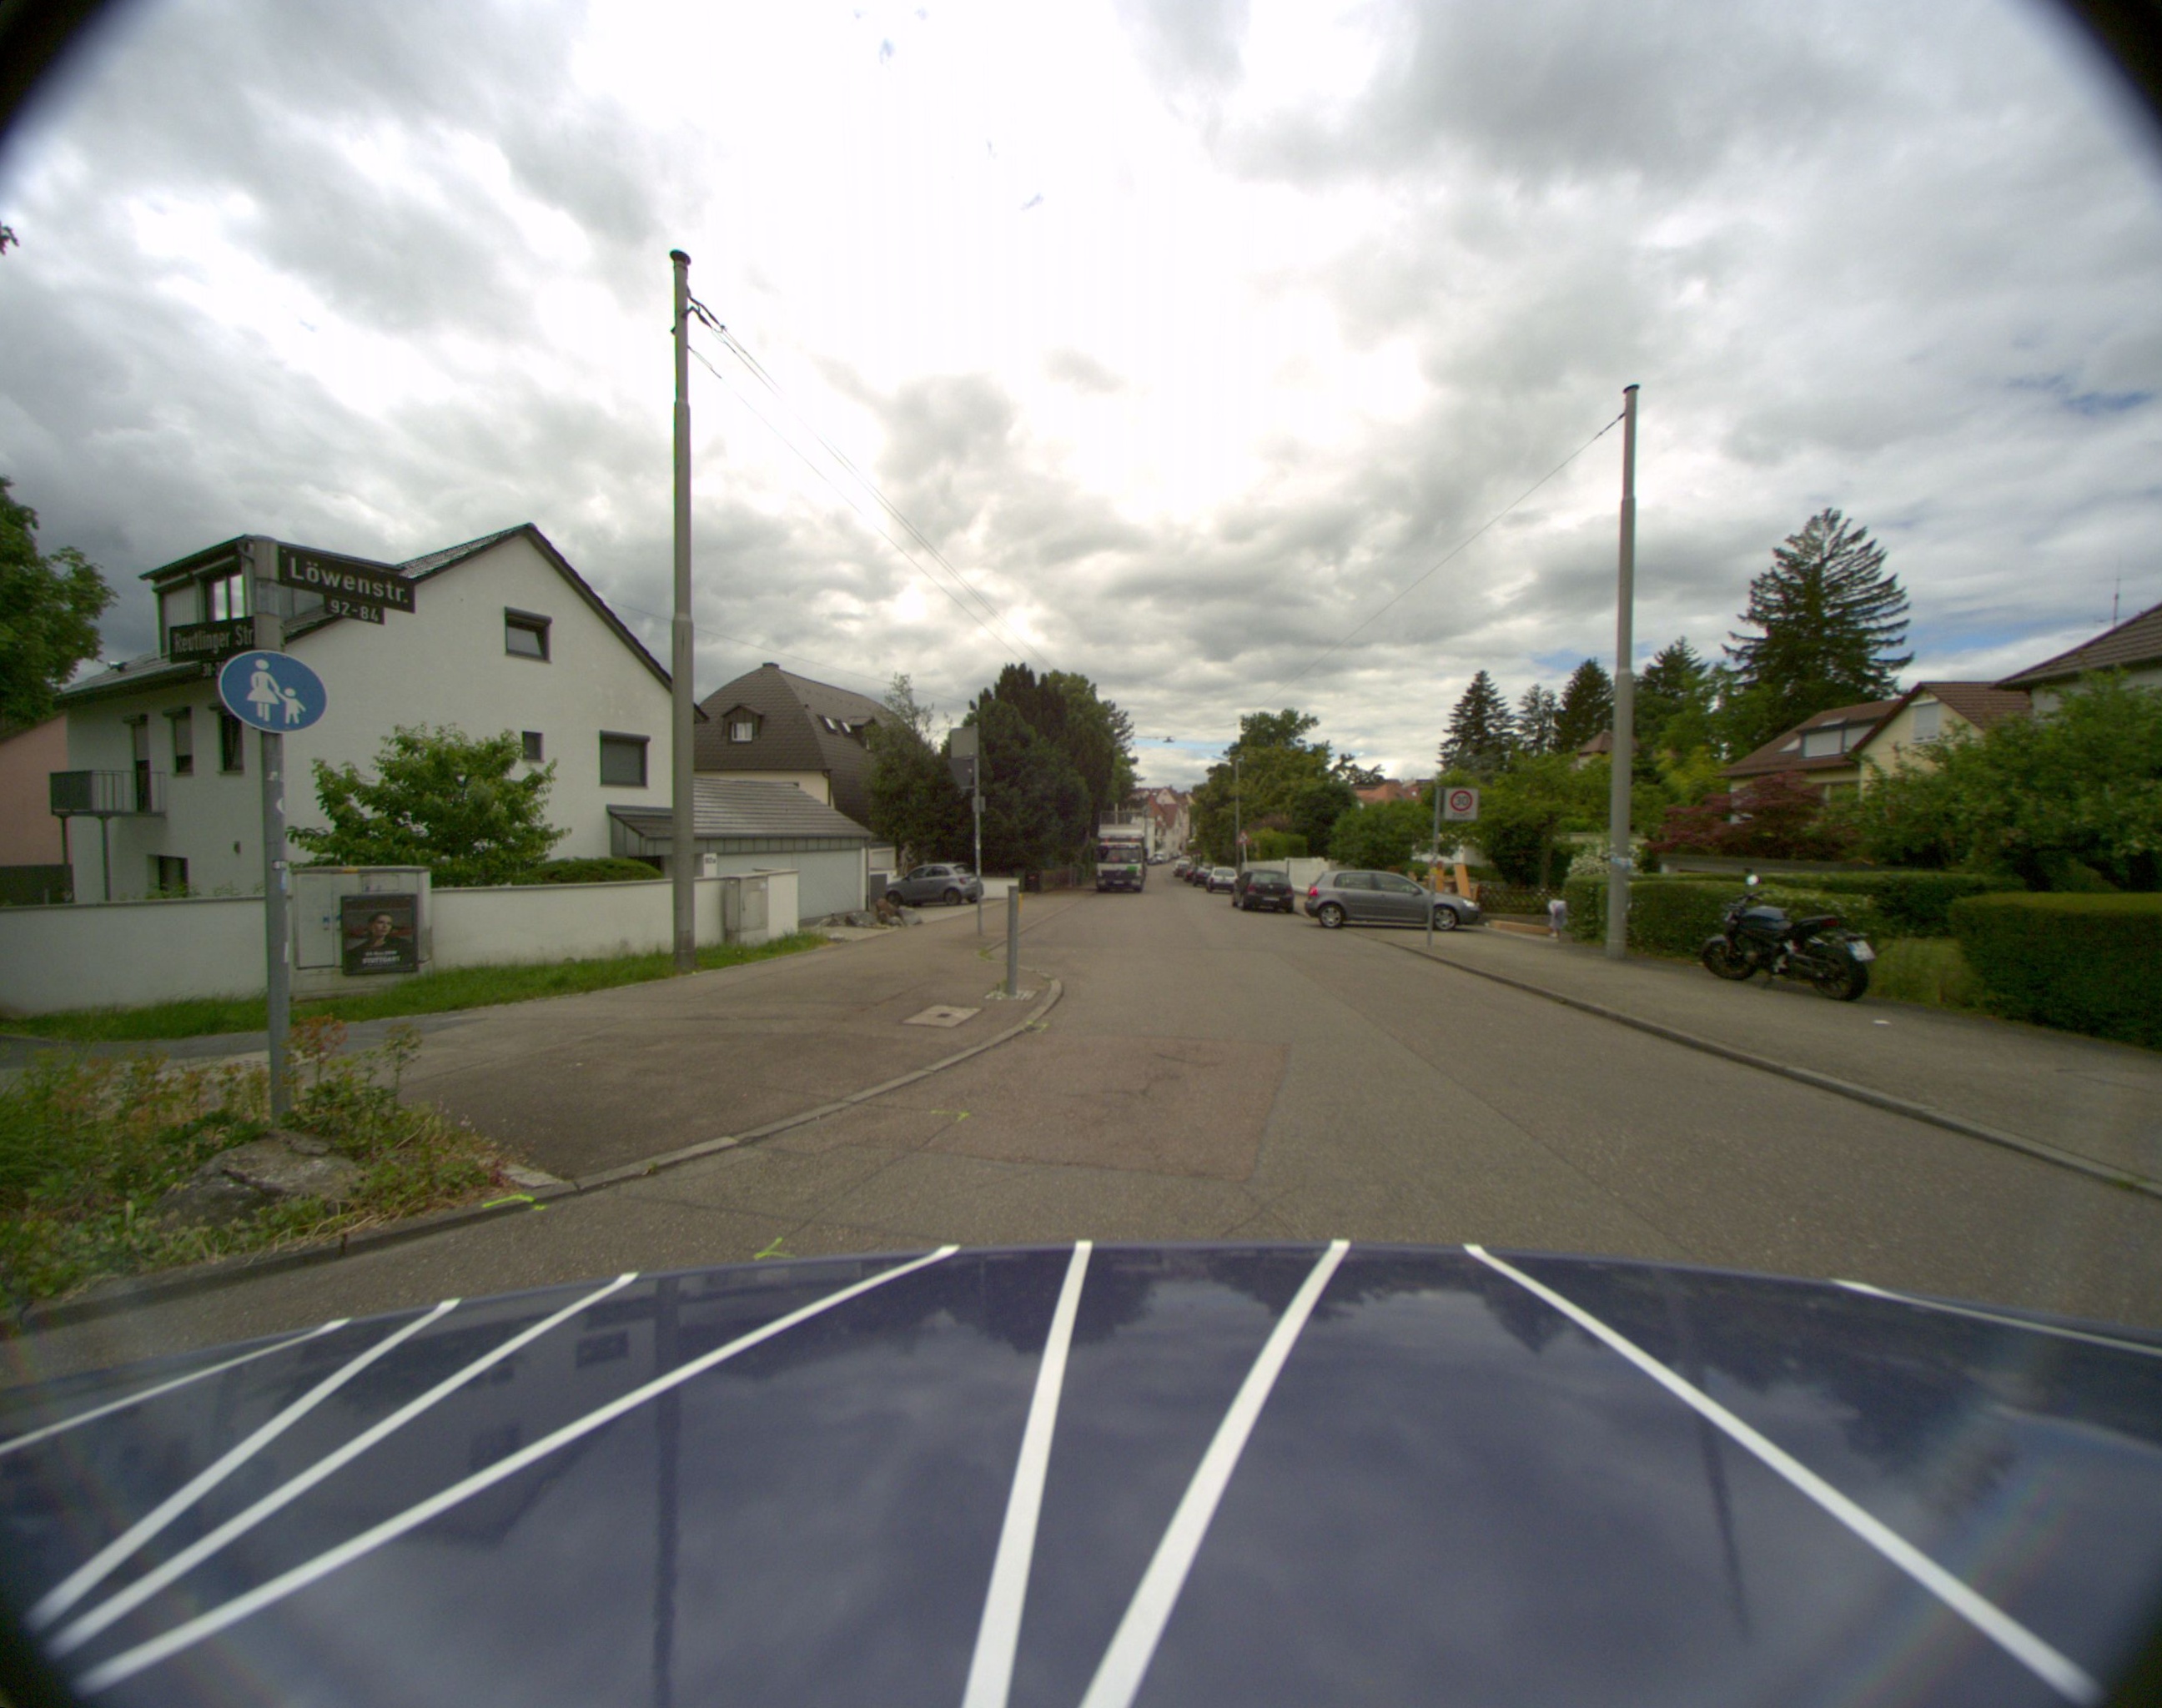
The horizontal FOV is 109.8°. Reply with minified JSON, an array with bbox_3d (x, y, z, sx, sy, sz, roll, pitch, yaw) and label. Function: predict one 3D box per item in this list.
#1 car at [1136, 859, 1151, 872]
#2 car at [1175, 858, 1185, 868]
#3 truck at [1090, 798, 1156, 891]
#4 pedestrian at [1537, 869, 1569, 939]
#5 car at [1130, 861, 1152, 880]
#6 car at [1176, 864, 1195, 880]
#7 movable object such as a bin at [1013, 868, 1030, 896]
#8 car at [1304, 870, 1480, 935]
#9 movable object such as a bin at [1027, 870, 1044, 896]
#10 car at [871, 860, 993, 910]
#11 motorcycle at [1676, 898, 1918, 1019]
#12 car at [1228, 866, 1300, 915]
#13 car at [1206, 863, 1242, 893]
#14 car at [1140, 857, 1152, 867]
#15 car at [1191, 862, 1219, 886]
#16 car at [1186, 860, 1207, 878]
[{"bbox_3d":[7.852,1.369,95.047,1.875,1.543,3.826,0,0,5],"label":"car"},{"bbox_3d":[14.972,1.334,115.141,1.423,1.277,3.314,3,1,6],"label":"car"},{"bbox_3d":[2.305,-0.463,41.458,3.152,4.524,7.955,1,0,3],"label":"truck"},{"bbox_3d":[12.399,1.294,19.967,0.644,1.794,0.614,1,1,25],"label":"pedestrian"},{"bbox_3d":[5.377,1.436,67.297,1.875,1.543,3.826,0,0,5],"label":"car"},{"bbox_3d":[12.185,2.067,88.821,1.887,1.746,3.704,0,0,3],"label":"car"},{"bbox_3d":[-2.636,1.226,33.681,0.599,1.200,0.952,-2,-2,3],"label":"movable object such as a bin"},{"bbox_3d":[7.840,1.163,19.323,3.990,1.454,1.741,0,0,24],"label":"car"},{"bbox_3d":[-2.005,1.280,33.351,0.599,1.098,0.952,-2,-2,3],"label":"movable object such as a bin"},{"bbox_3d":[-5.300,1.103,27.145,3.851,1.488,1.695,-4,-1,19],"label":"car"},{"bbox_3d":[8.277,1.150,8.962,0.774,1.133,2.146,1,0,-1],"label":"motorcycle"},{"bbox_3d":[6.290,1.209,26.450,1.757,1.435,3.804,3,0,4],"label":"car"},{"bbox_3d":[7.971,1.329,42.510,1.619,1.460,3.314,3,1,6],"label":"car"},{"bbox_3d":[10.637,1.291,124.498,1.875,1.543,3.826,0,0,5],"label":"car"},{"bbox_3d":[8.595,1.383,52.832,1.619,1.460,3.314,3,1,6],"label":"car"},{"bbox_3d":[10.061,1.320,66.404,1.538,1.460,3.315,3,-1,6],"label":"car"}]
